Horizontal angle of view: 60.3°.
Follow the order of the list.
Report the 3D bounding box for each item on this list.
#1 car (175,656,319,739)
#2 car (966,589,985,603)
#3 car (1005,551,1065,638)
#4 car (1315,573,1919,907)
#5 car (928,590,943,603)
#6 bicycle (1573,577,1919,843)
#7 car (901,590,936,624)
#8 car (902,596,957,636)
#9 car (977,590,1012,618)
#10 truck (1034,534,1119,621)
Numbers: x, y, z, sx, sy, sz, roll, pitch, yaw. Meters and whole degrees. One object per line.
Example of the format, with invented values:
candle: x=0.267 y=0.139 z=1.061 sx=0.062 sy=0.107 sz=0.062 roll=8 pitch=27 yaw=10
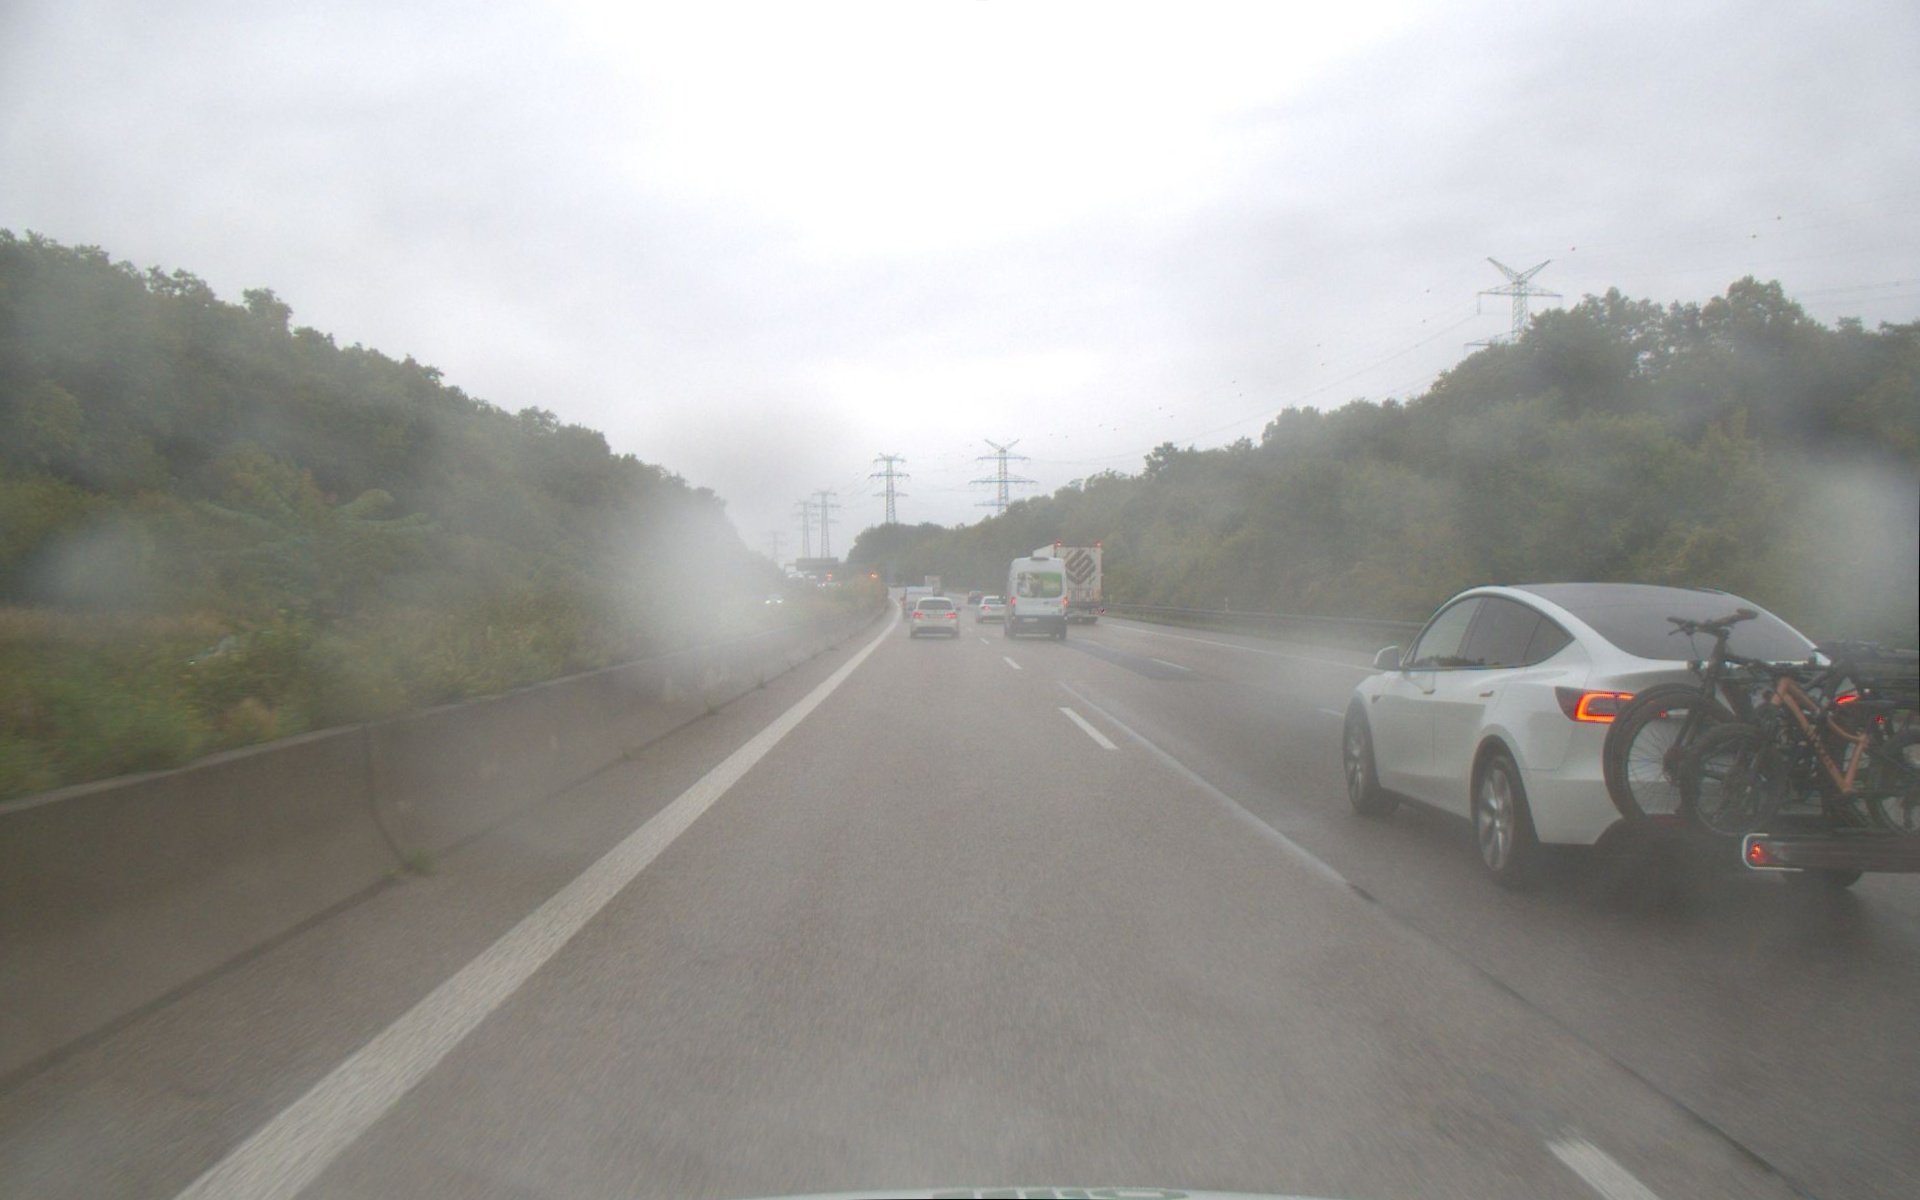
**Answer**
car: x=-15.248 y=2.055 z=35.560 sx=1.626 sy=1.512 sz=3.475 roll=-1 pitch=0 yaw=-1
car: x=1.745 y=-0.427 z=186.465 sx=1.953 sy=1.512 sz=3.999 roll=-3 pitch=0 yaw=0
car: x=2.598 y=-0.202 z=57.758 sx=1.952 sy=2.914 sz=4.000 roll=1 pitch=0 yaw=1
car: x=3.701 y=0.663 z=10.392 sx=1.822 sy=1.595 sz=4.963 roll=0 pitch=0 yaw=-1
car: x=-3.194 y=-0.491 z=217.507 sx=1.953 sy=1.601 sz=4.000 roll=-2 pitch=-1 yaw=0
bicycle: x=3.780 y=0.465 z=7.415 sx=1.717 sy=1.110 sz=0.913 roll=0 pitch=-1 yaw=-1
car: x=-2.261 y=0.362 z=90.972 sx=1.808 sy=1.803 sz=4.000 roll=-1 pitch=0 yaw=0
car: x=-1.060 y=0.553 z=58.496 sx=1.828 sy=1.310 sz=4.000 roll=-1 pitch=0 yaw=0
car: x=1.804 y=0.201 z=87.777 sx=1.818 sy=1.447 sz=4.001 roll=0 pitch=0 yaw=1
truck: x=6.175 y=-1.144 z=90.417 sx=3.530 sy=4.408 sz=13.197 roll=-1 pitch=0 yaw=-1
